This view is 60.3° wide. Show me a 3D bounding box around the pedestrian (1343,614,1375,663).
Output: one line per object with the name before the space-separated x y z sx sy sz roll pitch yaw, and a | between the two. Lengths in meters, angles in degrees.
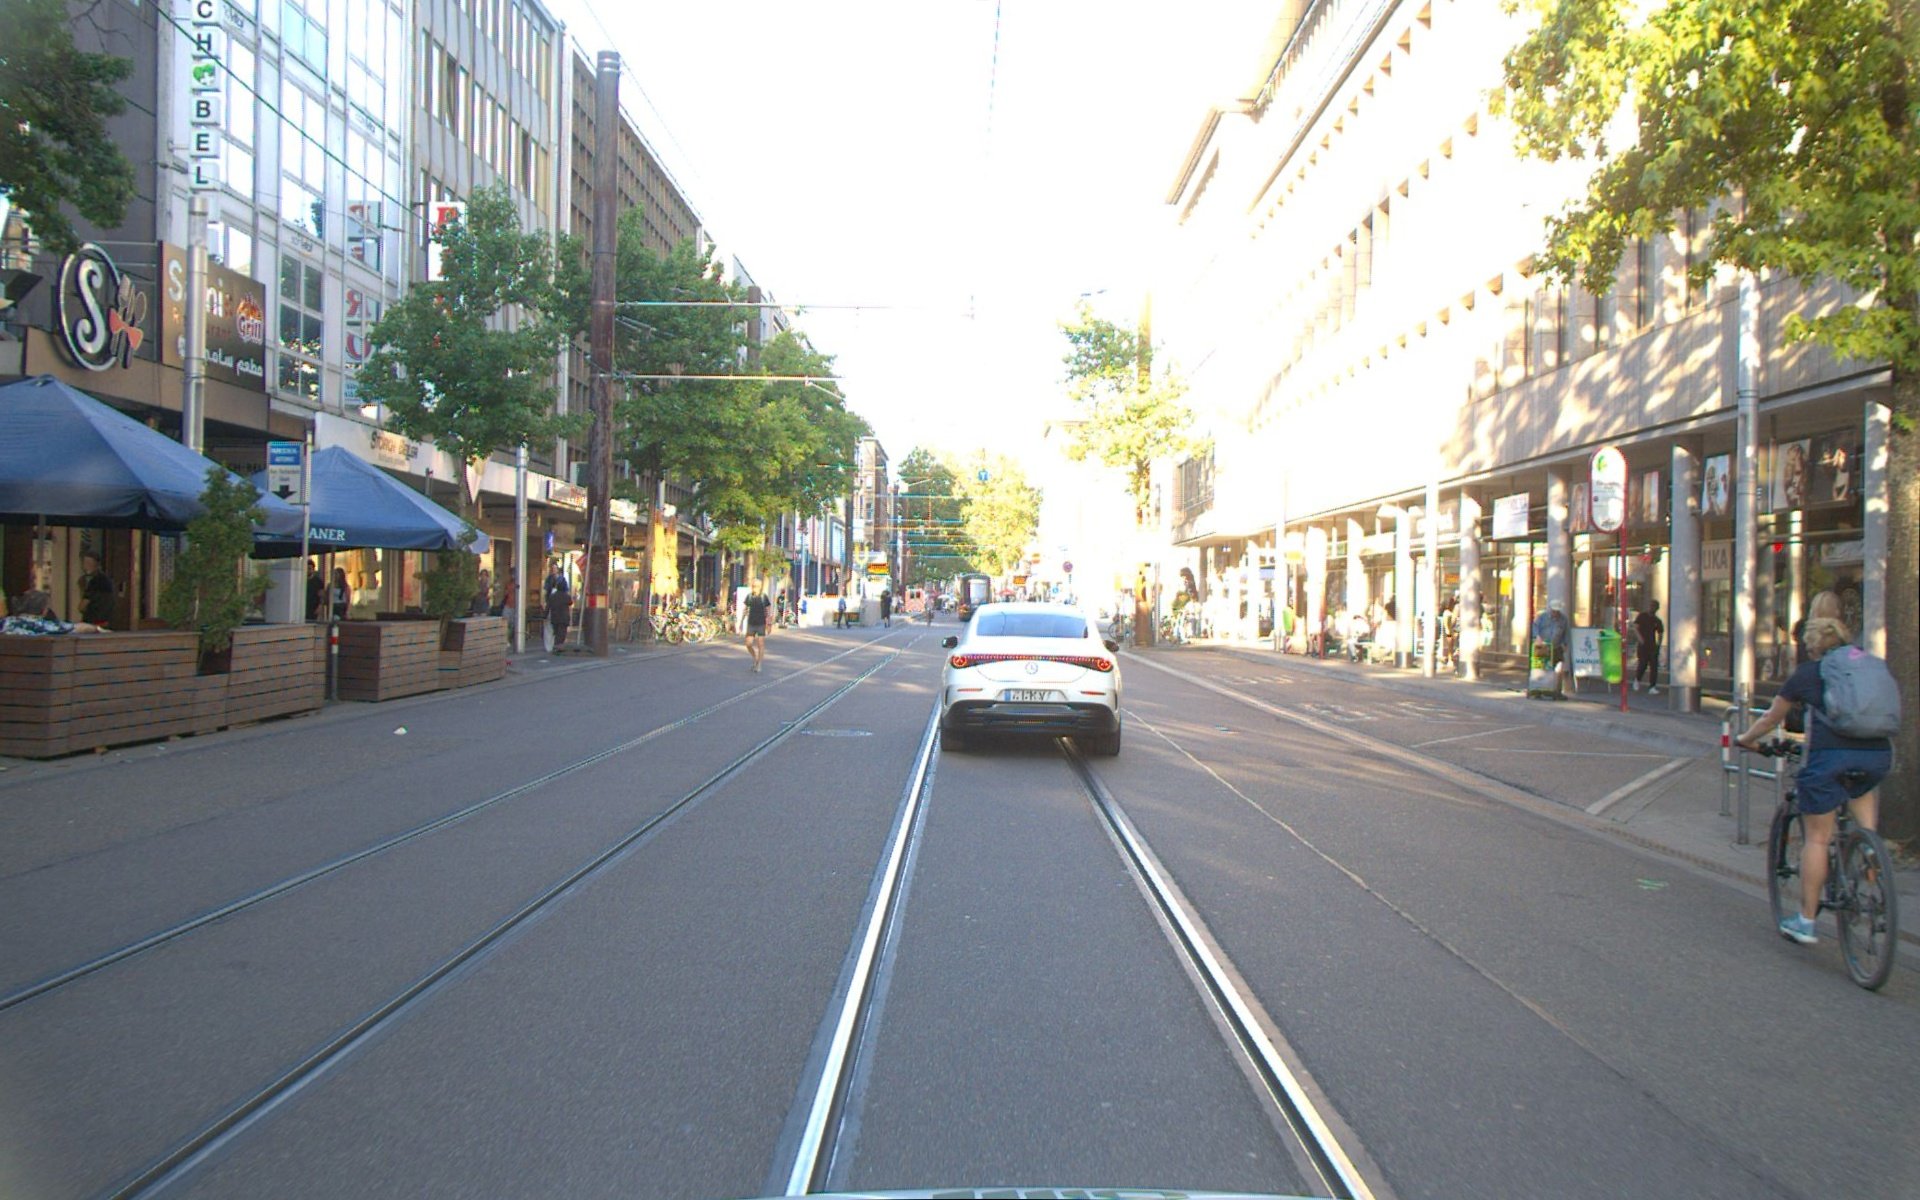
pedestrian | 10.145 0.976 42.042 0.652 1.219 0.785 1 0 5

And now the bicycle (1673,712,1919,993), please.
bicycle | 4.080 1.128 7.918 0.703 1.012 2.060 3 0 9

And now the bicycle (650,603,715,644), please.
bicycle | -7.981 0.681 47.594 1.753 1.096 0.377 2 0 -4

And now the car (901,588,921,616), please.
car | -5.207 0.223 176.282 1.952 2.948 5.275 1 0 1

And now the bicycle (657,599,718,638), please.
bicycle | -8.531 0.574 51.790 1.808 1.160 0.377 2 0 2

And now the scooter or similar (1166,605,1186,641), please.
scooter or similar | 7.948 0.856 60.939 0.518 1.299 0.658 -1 0 -11

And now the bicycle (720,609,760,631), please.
bicycle | -8.464 0.771 63.753 1.462 0.797 0.345 2 0 2

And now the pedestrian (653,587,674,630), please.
pedestrian | -11.148 0.322 62.205 0.700 1.574 0.684 1 0 -6

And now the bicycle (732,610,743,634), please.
bicycle | -7.758 0.750 57.799 0.337 0.797 1.403 2 0 -7

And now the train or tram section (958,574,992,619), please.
train or tram section | 1.231 -0.295 138.343 2.639 3.578 12.545 1 0 0

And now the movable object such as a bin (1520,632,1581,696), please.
movable object such as a bin | 9.192 0.989 25.758 0.675 0.940 0.718 2 0 1

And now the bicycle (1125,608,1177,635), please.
bicycle | 8.048 0.912 69.711 2.076 1.115 0.608 0 -1 -11

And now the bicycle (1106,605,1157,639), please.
bicycle | 6.756 0.852 65.201 1.874 1.304 0.608 -1 0 -11

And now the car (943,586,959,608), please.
car | -1.261 -0.423 227.101 2.056 2.948 5.275 1 0 1

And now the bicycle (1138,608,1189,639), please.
bicycle | 7.931 0.903 64.387 1.874 1.177 0.608 -1 0 -11

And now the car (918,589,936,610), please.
car | -3.887 -0.046 195.064 1.870 2.504 5.275 1 0 1

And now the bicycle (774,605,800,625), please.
bicycle | -9.201 0.804 88.157 0.703 1.027 2.041 1 0 14

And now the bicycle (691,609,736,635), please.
bicycle | -8.380 0.744 56.252 1.462 0.797 0.345 2 0 2

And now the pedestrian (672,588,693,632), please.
pedestrian | -10.448 0.378 62.262 0.700 1.668 0.684 1 0 -6

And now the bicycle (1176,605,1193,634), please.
bicycle | 9.243 0.800 68.117 0.553 1.147 1.930 -1 0 4

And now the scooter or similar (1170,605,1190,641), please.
scooter or similar | 8.022 0.820 60.263 0.518 1.299 0.658 -1 0 -11

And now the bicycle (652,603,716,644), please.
bicycle | -8.020 0.684 48.055 1.753 1.096 0.377 2 0 -4

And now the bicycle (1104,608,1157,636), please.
bicycle | 7.017 0.901 68.186 2.075 1.115 0.608 1 -1 -11

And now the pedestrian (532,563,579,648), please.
pedestrian | -9.576 0.126 39.164 0.784 1.957 1.071 3 0 -3

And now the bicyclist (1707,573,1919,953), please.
bicyclist | 4.072 0.719 7.758 0.761 1.641 0.913 3 0 9

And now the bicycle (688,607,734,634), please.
bicycle | -8.357 0.694 55.507 1.462 0.855 0.345 2 0 2

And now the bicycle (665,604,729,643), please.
bicycle | -7.843 0.696 49.305 1.810 1.096 0.377 2 0 -4

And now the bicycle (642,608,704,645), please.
bicycle | -7.760 0.716 44.745 1.561 0.947 0.377 2 0 7

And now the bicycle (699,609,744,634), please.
bicycle | -8.200 0.727 56.878 1.462 0.797 0.345 2 0 2

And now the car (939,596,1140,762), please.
car | 0.751 0.733 17.470 1.819 1.481 4.175 2 0 0

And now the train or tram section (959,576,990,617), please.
train or tram section | 1.331 -0.298 150.184 2.639 3.578 11.143 1 0 0

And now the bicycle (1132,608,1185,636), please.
bicycle | 8.100 0.903 67.512 2.077 1.115 0.608 0 -1 -13

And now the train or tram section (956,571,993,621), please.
train or tram section | 1.118 -0.287 125.790 2.639 3.578 12.545 1 0 0

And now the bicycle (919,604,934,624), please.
bicycle | -1.957 0.810 96.315 0.784 1.162 2.257 2 0 -1

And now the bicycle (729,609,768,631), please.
bicycle | -8.320 0.796 65.060 1.462 0.797 0.345 2 0 2

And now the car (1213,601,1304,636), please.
car | 13.414 0.816 74.342 3.727 1.499 1.647 1 0 -5

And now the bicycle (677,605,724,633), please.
bicycle | -8.543 0.629 54.480 1.462 0.855 0.345 2 0 2

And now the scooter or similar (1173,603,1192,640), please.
scooter or similar | 8.001 0.776 59.583 0.482 1.299 0.658 -1 0 -11
